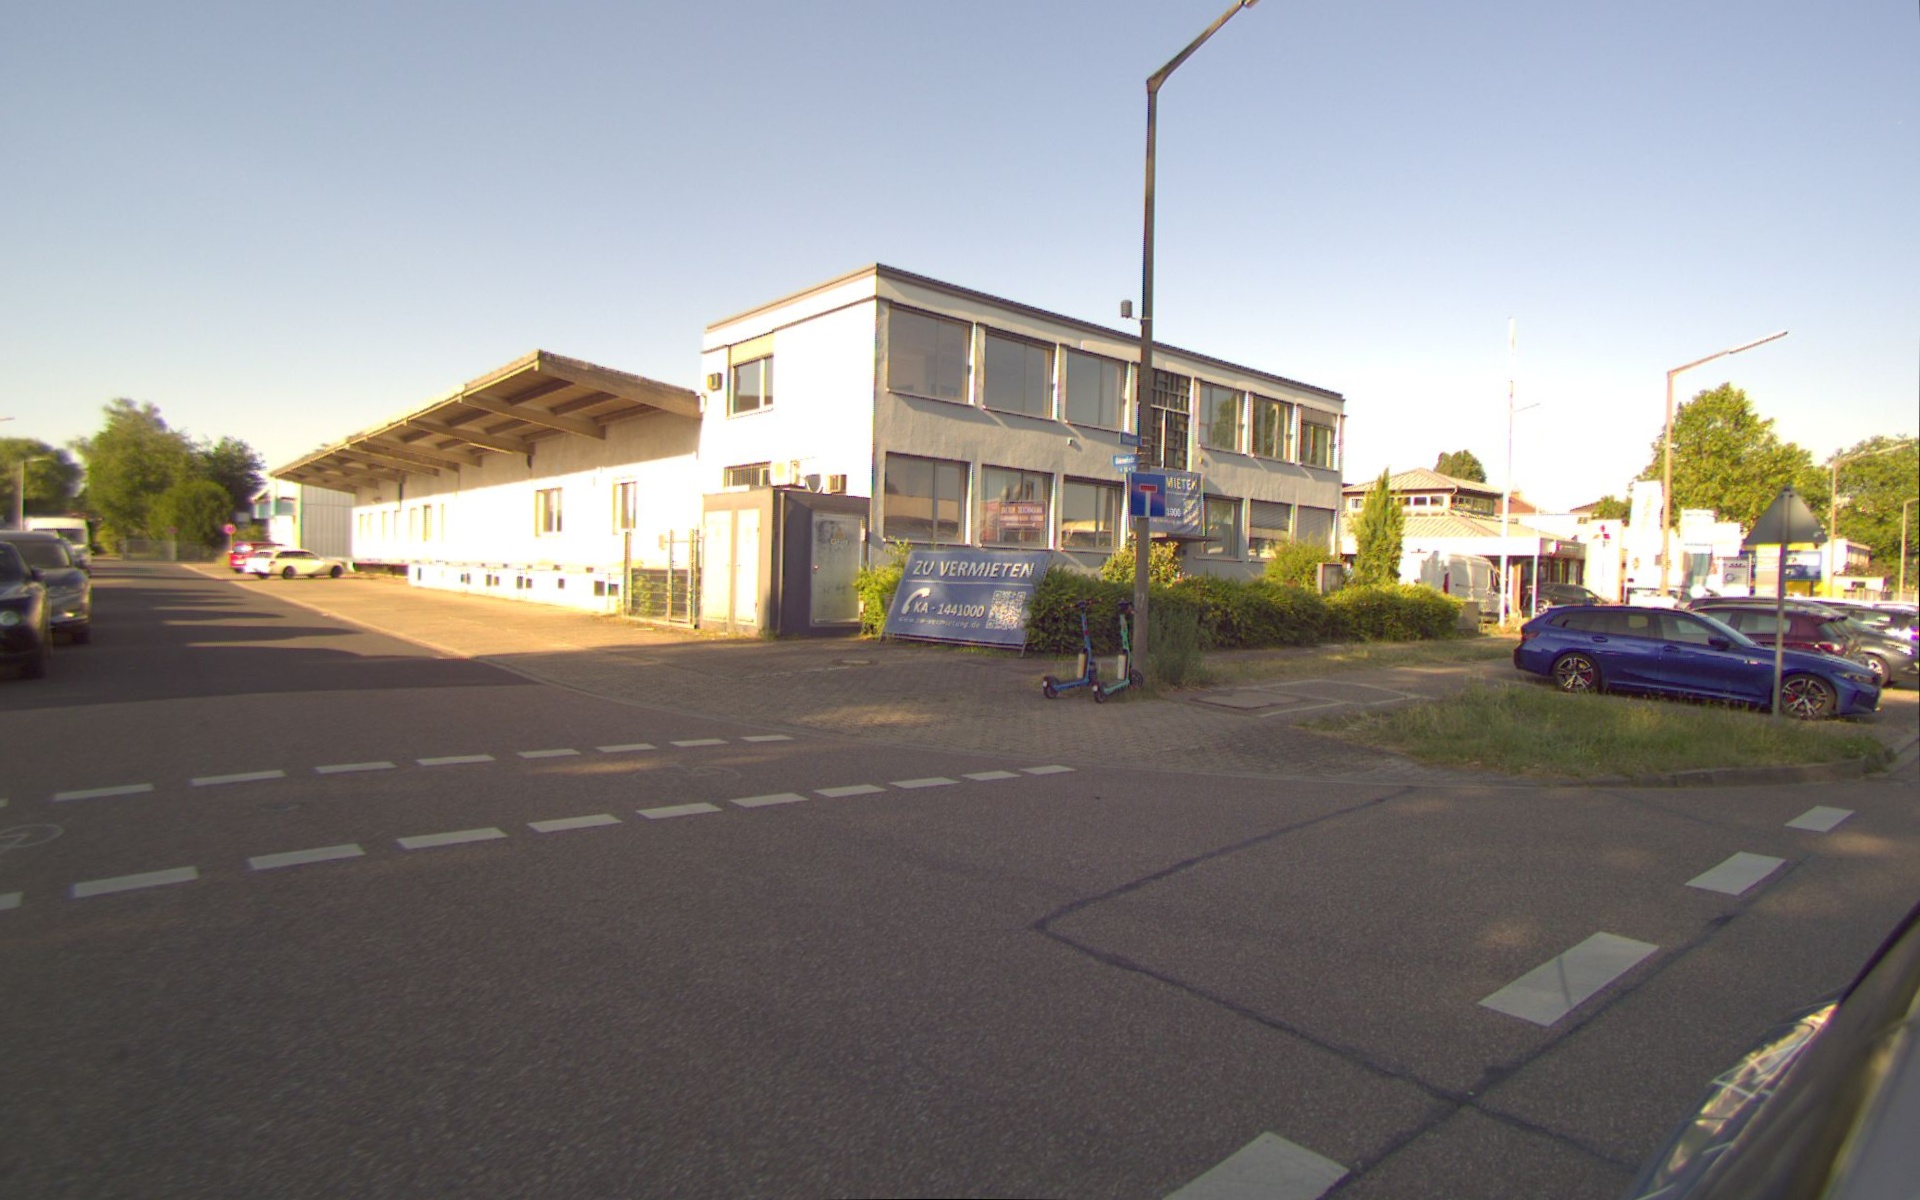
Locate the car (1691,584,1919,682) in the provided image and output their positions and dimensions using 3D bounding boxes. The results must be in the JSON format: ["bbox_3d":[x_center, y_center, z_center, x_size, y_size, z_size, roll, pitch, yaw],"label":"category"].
[{"bbox_3d":[17.721,0.596,20.696,1.961,1.632,4.004,0,4,-33],"label":"car"}]

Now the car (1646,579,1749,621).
[{"bbox_3d":[38.336,-0.008,52.652,2.163,1.922,3.941,4,-1,-41],"label":"car"}]

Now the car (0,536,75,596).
[{"bbox_3d":[-28.410,-1.066,30.878,1.967,1.724,3.992,-3,4,-43],"label":"car"}]

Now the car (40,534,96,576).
[{"bbox_3d":[-45.005,-2.278,51.015,1.967,2.007,3.992,-3,4,-43],"label":"car"}]

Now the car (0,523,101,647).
[{"bbox_3d":[-14.686,-0.288,15.607,1.967,1.724,4.114,-3,4,-43],"label":"car"}]

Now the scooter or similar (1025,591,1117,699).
[{"bbox_3d":[1.431,0.543,12.931,1.273,1.315,0.442,0,1,-44],"label":"scooter or similar"}]

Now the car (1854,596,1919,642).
[{"bbox_3d":[35.117,0.701,36.499,4.244,1.625,1.718,1,1,45],"label":"car"}]

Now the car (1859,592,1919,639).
[{"bbox_3d":[36.824,0.597,38.272,1.853,1.761,4.112,0,1,-44],"label":"car"}]

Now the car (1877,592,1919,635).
[{"bbox_3d":[38.981,0.599,39.837,2.025,1.637,4.113,0,3,-44],"label":"car"}]

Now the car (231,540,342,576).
[{"bbox_3d":[-33.484,-2.055,50.495,1.971,1.671,4.475,1,1,14],"label":"car"}]

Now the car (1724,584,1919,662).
[{"bbox_3d":[22.788,0.552,26.371,1.887,1.643,4.258,0,4,-41],"label":"car"}]

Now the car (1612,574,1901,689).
[{"bbox_3d":[15.197,0.507,19.493,1.769,1.671,3.999,0,6,-40],"label":"car"}]

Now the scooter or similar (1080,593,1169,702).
[{"bbox_3d":[2.103,0.570,12.865,1.273,1.315,0.442,0,1,-44],"label":"scooter or similar"}]

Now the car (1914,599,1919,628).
[{"bbox_3d":[46.096,0.761,45.807,1.751,1.312,4.000,0,3,-38],"label":"car"}]

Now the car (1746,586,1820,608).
[{"bbox_3d":[59.281,-0.205,72.914,1.967,1.516,3.989,0,1,-45],"label":"car"}]

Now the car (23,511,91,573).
[{"bbox_3d":[-37.925,-2.431,42.481,1.967,2.458,3.992,-3,4,-43],"label":"car"}]

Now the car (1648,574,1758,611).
[{"bbox_3d":[40.414,-0.439,55.131,2.164,1.922,4.503,0,1,-41],"label":"car"}]

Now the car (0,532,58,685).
[{"bbox_3d":[-11.977,0.041,11.868,1.967,1.624,3.992,-3,4,-43],"label":"car"}]

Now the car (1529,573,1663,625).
[{"bbox_3d":[25.688,-0.080,40.981,1.965,1.793,4.154,0,4,-40],"label":"car"}]

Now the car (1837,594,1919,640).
[{"bbox_3d":[33.643,0.664,35.206,2.098,1.453,4.447,0,4,-41],"label":"car"}]

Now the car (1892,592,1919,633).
[{"bbox_3d":[40.699,0.610,41.111,1.837,1.607,3.992,0,4,-44],"label":"car"}]

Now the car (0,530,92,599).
[{"bbox_3d":[-24.898,-0.998,27.370,1.967,1.724,3.992,-3,4,-43],"label":"car"}]

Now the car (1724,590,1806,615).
[{"bbox_3d":[52.681,0.171,66.250,1.967,1.538,3.989,0,1,-45],"label":"car"}]

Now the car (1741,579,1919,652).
[{"bbox_3d":[24.603,0.407,27.852,2.165,1.616,4.563,0,5,-43],"label":"car"}]

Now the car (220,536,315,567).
[{"bbox_3d":[-40.634,-2.810,59.510,1.971,1.671,4.475,1,1,14],"label":"car"}]

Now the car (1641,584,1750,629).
[{"bbox_3d":[35.252,0.272,48.550,1.756,1.921,3.910,-2,3,-41],"label":"car"}]

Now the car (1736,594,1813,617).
[{"bbox_3d":[56.968,0.347,70.801,1.921,1.538,3.989,0,1,-44],"label":"car"}]

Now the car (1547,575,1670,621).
[{"bbox_3d":[27.927,-0.107,43.687,1.965,1.679,3.997,0,4,-40],"label":"car"}]

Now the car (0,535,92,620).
[{"bbox_3d":[-18.925,-0.510,20.401,1.967,1.568,3.992,-3,4,-43],"label":"car"}]

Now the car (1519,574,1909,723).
[{"bbox_3d":[11.439,0.602,15.623,1.724,1.693,4.530,0,4,-44],"label":"car"}]

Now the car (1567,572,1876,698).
[{"bbox_3d":[13.177,0.503,17.705,1.713,1.672,3.995,0,5,-43],"label":"car"}]

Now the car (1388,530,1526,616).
[{"bbox_3d":[16.711,-0.860,33.865,6.030,2.658,1.997,0,1,-41],"label":"car"}]
